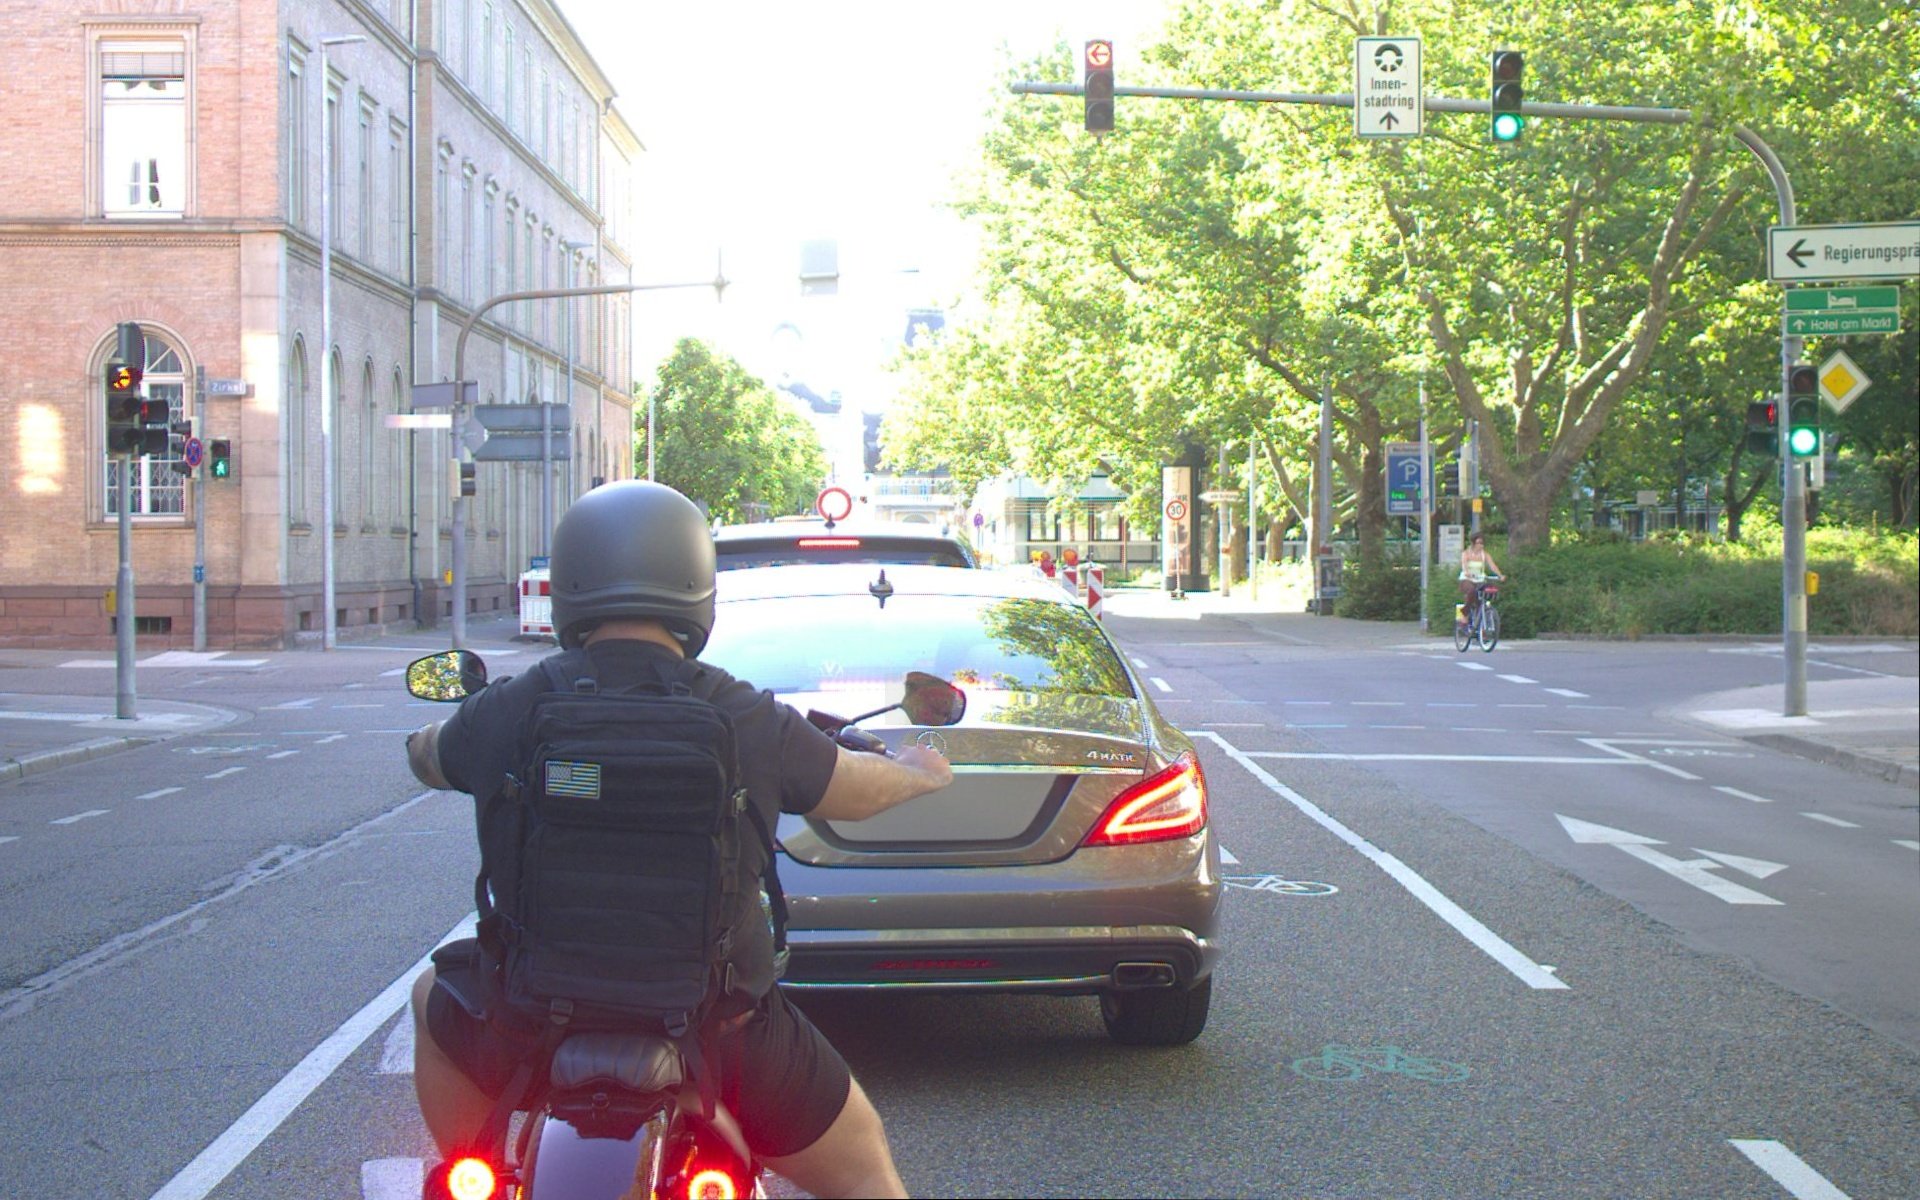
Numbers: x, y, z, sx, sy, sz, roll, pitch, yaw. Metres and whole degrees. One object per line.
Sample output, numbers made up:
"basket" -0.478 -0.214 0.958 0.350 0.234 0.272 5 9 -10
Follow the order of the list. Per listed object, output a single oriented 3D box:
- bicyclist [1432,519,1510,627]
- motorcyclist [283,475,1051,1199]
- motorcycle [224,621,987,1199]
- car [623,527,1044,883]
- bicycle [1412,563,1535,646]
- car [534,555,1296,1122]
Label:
"bicyclist" 7.525 -0.398 50.652 0.716 1.577 0.936 1 0 -24
"motorcyclist" -0.419 0.617 5.265 1.061 1.577 0.908 1 0 -1
"motorcycle" -0.469 0.736 5.537 0.962 1.352 2.320 1 1 -1
"car" -0.650 0.416 16.768 1.813 1.530 3.849 0 1 -3
"bicycle" 7.539 0.056 50.615 0.715 1.168 2.176 1 1 -24
"car" -0.364 0.584 11.113 1.901 1.436 4.290 0 1 -8
